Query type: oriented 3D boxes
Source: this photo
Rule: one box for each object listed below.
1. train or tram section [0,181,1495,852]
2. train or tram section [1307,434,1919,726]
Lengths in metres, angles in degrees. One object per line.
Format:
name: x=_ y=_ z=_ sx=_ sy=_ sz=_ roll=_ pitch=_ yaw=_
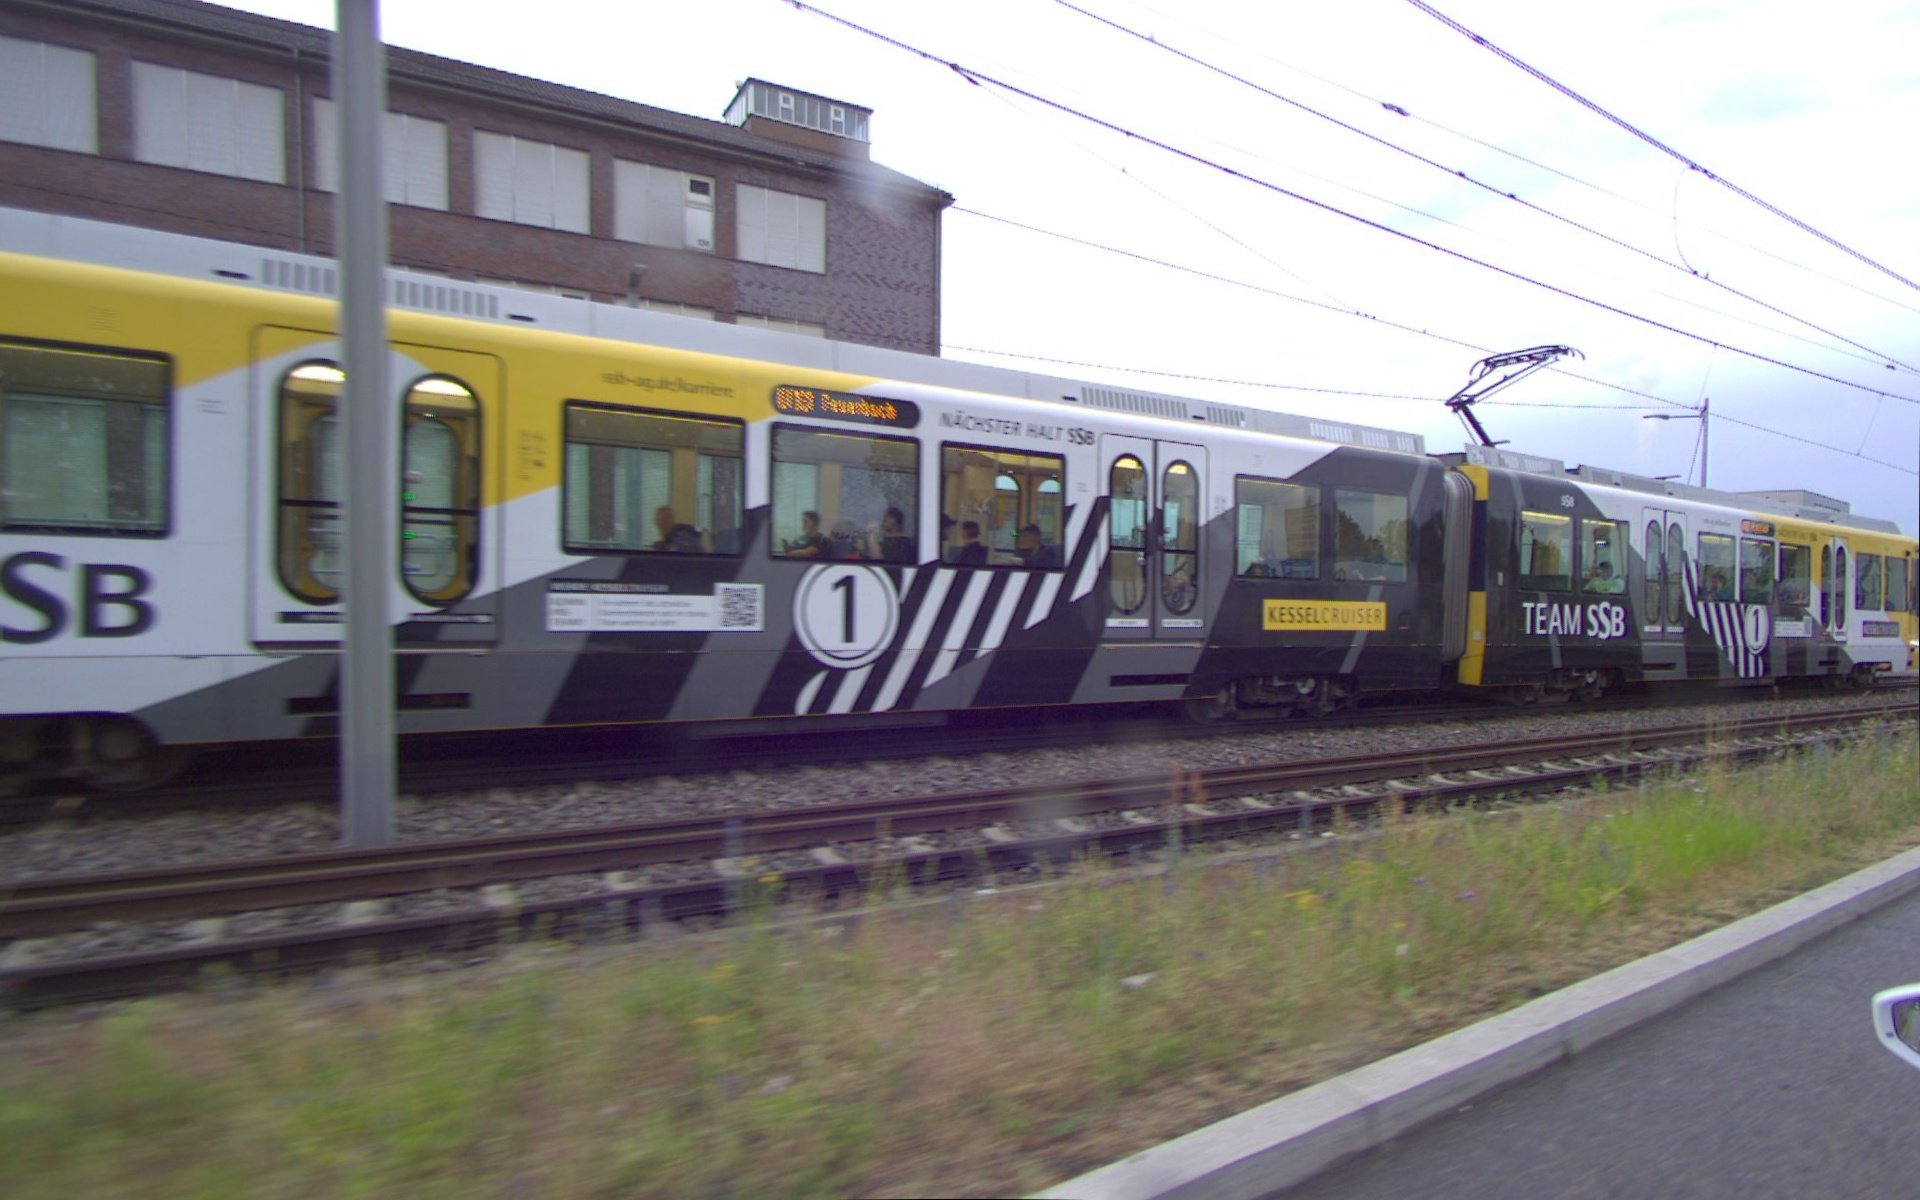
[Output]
train or tram section: x=-1.906 y=-0.435 z=9.850 sx=19.345 sy=3.938 sz=2.940 roll=1 pitch=2 yaw=-31
train or tram section: x=14.493 y=-0.154 z=19.859 sx=19.073 sy=3.938 sz=2.939 roll=1 pitch=2 yaw=-32
